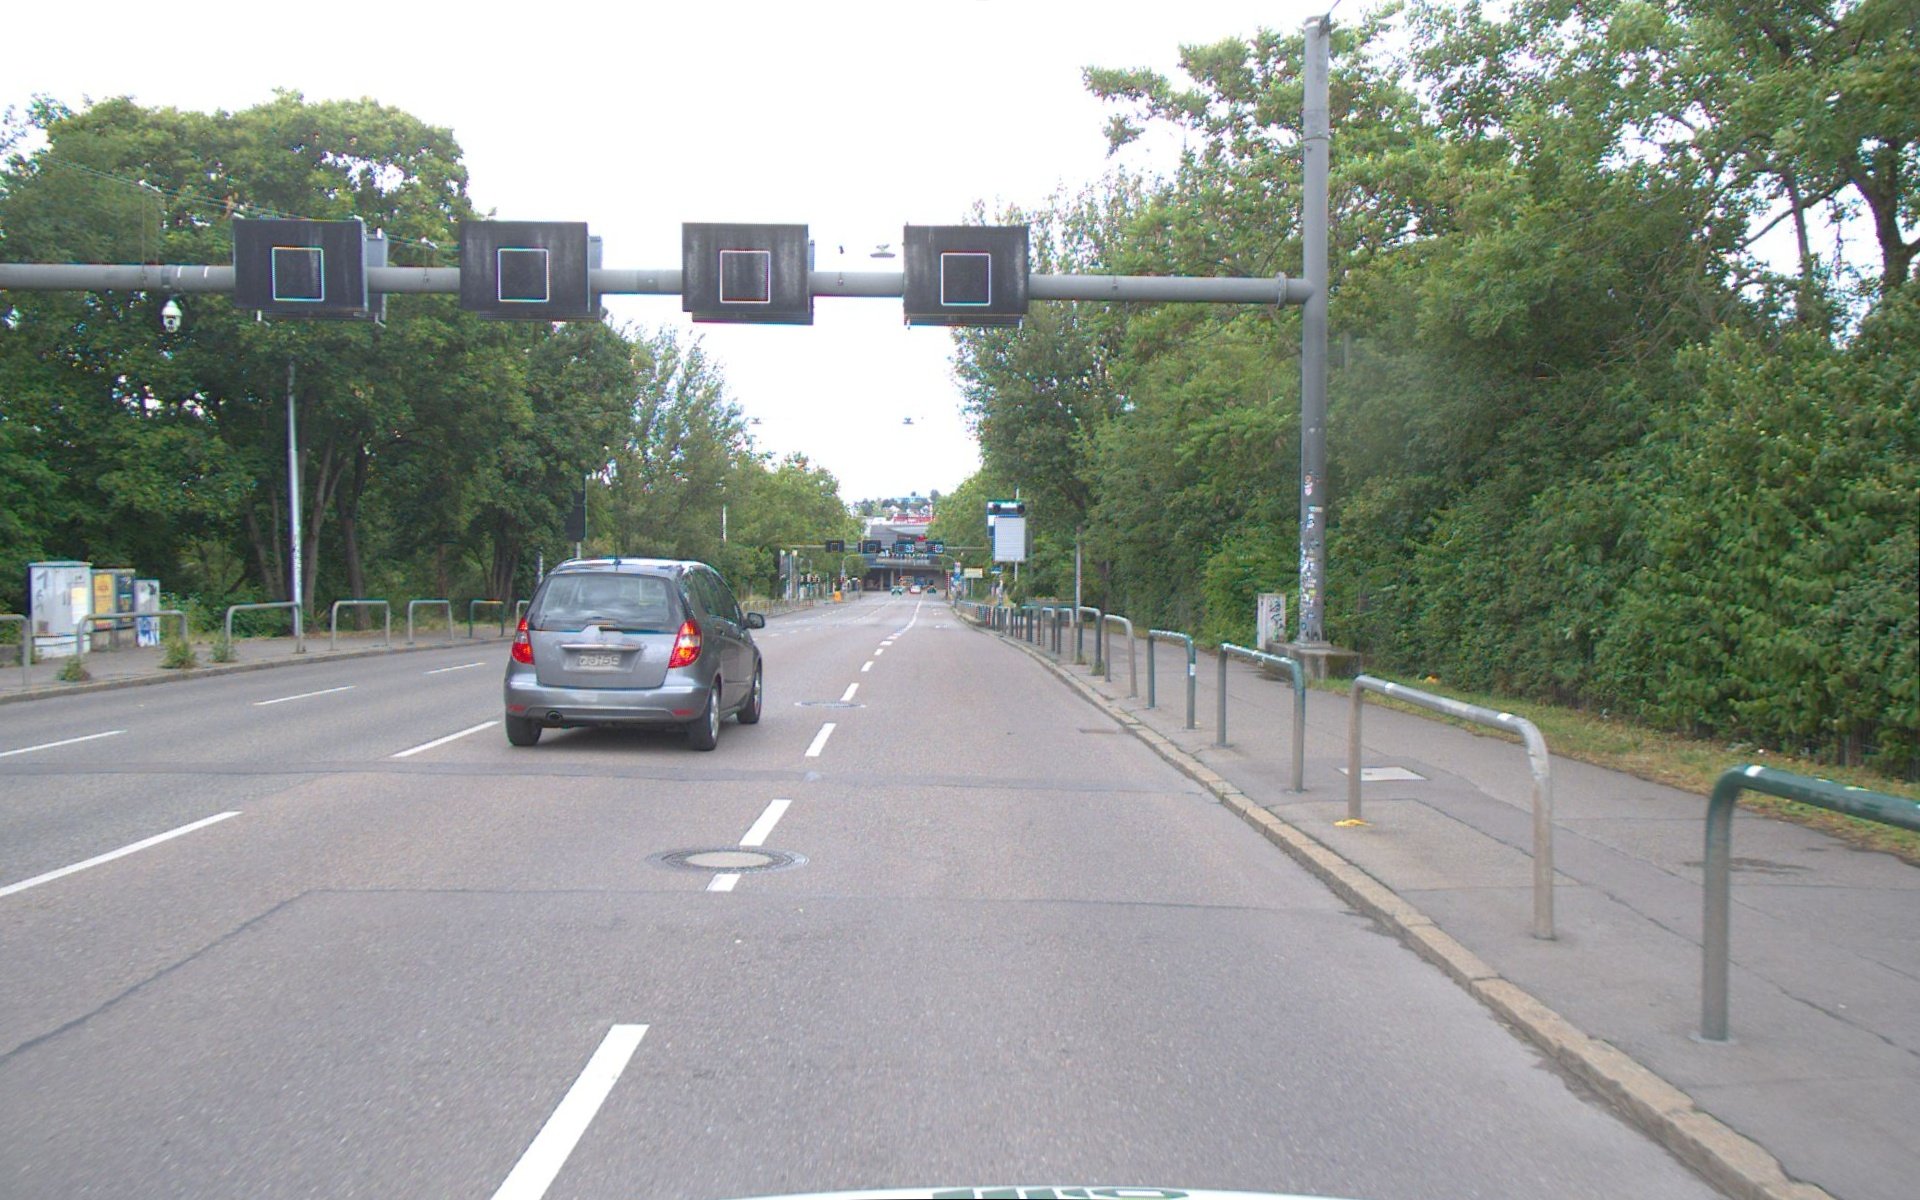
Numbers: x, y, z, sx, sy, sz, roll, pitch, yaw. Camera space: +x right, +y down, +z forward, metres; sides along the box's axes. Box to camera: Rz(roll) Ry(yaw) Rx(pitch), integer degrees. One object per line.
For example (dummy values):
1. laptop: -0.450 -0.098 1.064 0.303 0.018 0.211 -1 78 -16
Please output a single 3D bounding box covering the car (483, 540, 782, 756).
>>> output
1. car: -2.806 0.400 15.086 1.788 1.644 4.034 2 -1 1
